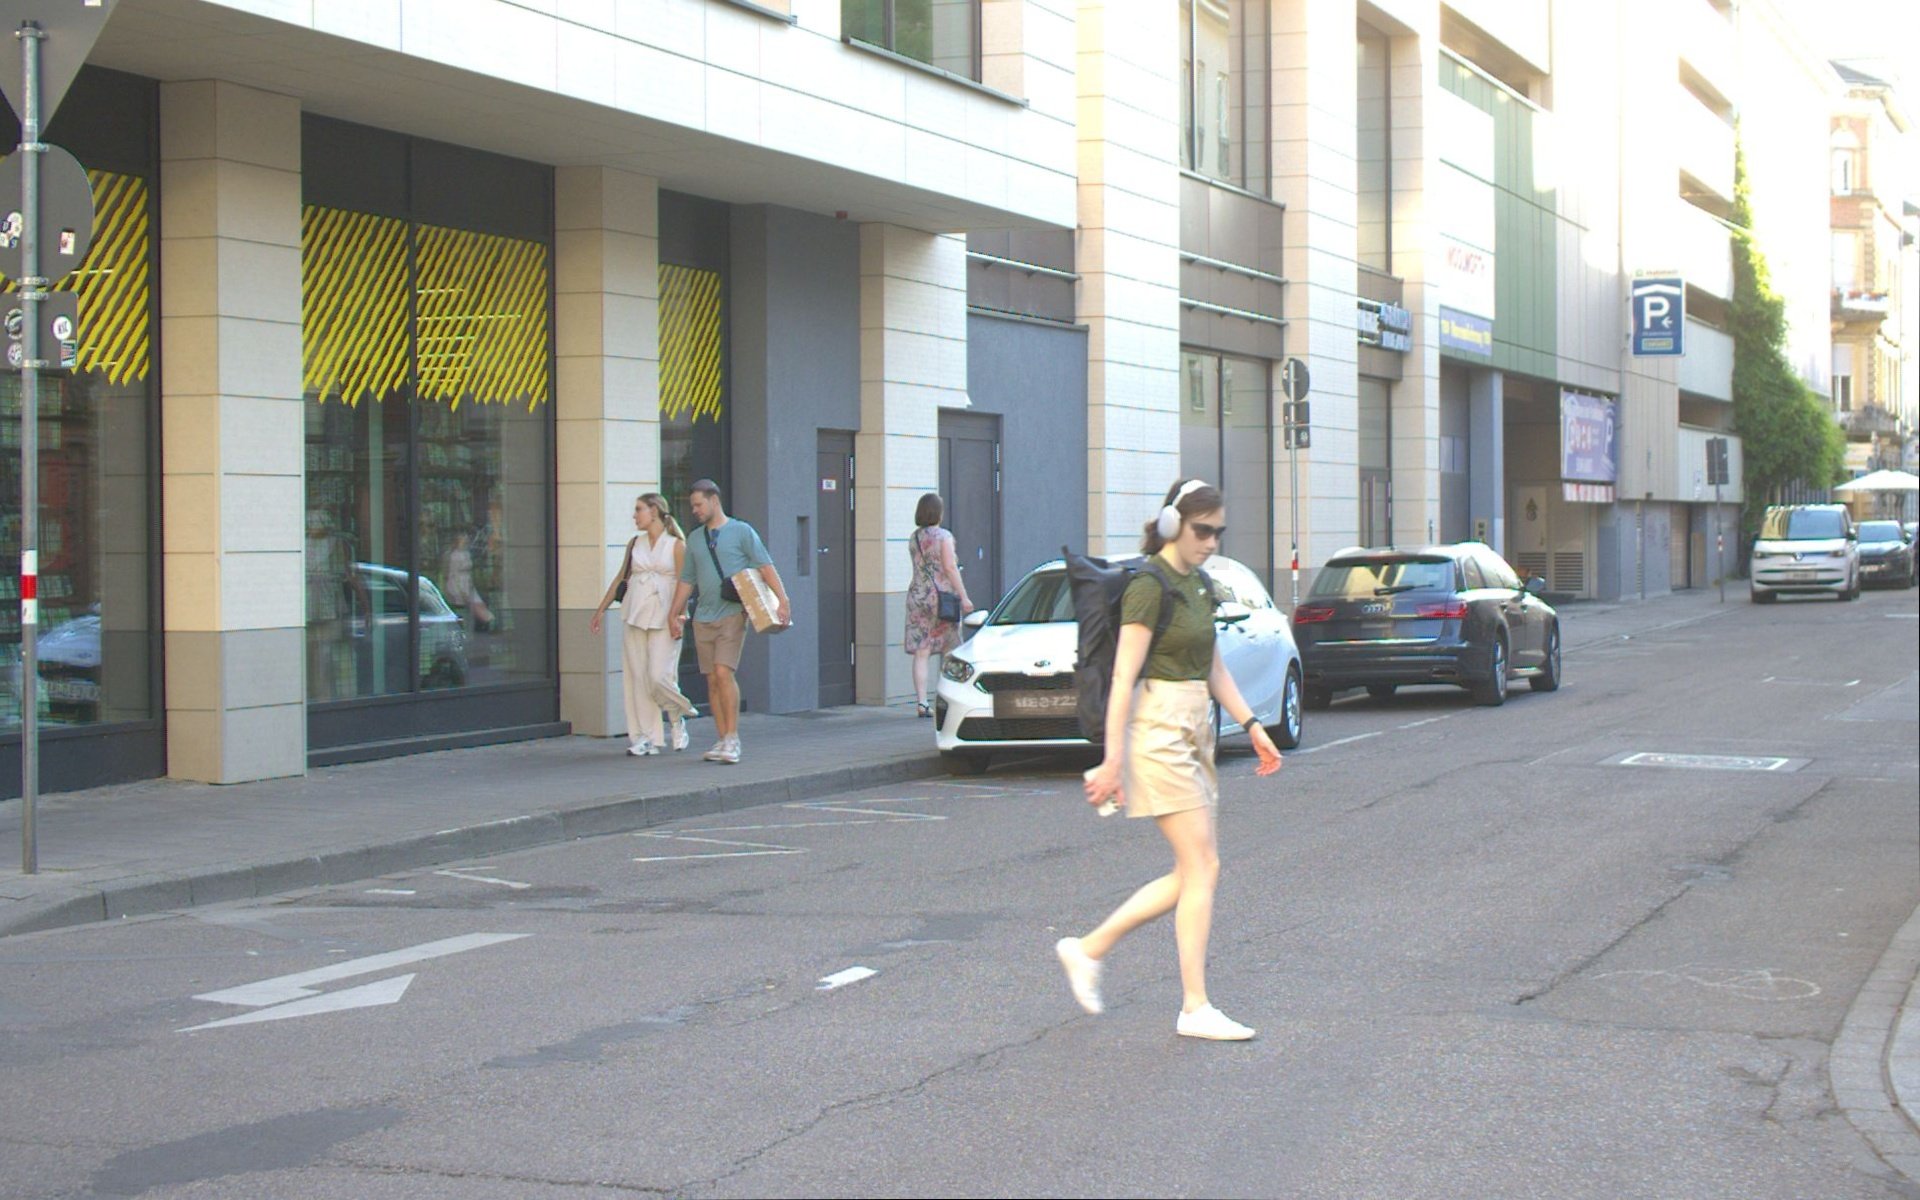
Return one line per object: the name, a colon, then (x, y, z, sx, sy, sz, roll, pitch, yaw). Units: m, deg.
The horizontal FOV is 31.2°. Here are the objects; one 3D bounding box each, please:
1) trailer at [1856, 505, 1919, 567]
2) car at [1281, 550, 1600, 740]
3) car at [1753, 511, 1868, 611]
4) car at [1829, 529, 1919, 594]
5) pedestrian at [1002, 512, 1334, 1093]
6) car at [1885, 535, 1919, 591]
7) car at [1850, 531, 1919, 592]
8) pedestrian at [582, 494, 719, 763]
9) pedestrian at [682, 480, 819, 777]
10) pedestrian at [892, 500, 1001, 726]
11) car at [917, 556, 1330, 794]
trailer: (23.943, -1.612, 87.386, 1.995, 1.552, 3.996, 0, 1, 18)
car: (4.536, 0.348, 31.854, 1.885, 1.592, 4.684, 0, 1, 22)
car: (16.871, -0.790, 68.068, 1.885, 1.905, 4.744, 0, 1, 18)
car: (21.032, -0.899, 78.849, 1.885, 1.448, 3.997, 0, 1, 18)
pedestrian: (0.639, 0.588, 10.679, 0.635, 1.717, 0.845, -1, 1, -36)
car: (25.784, -1.000, 91.770, 1.885, 1.448, 3.997, 0, 1, 18)
car: (22.673, -0.946, 83.295, 1.885, 1.448, 3.997, 0, 1, 18)
pedestrian: (-1.954, 0.167, 21.761, 0.672, 1.669, 0.647, 0, 1, 17)
pedestrian: (-1.305, 0.166, 21.537, 0.672, 1.830, 0.647, 0, 1, 17)
pedestrian: (-0.101, 0.091, 26.824, 0.672, 1.738, 0.647, 0, 1, 20)
car: (1.228, 0.437, 23.646, 1.779, 1.448, 4.227, 0, 1, 18)
